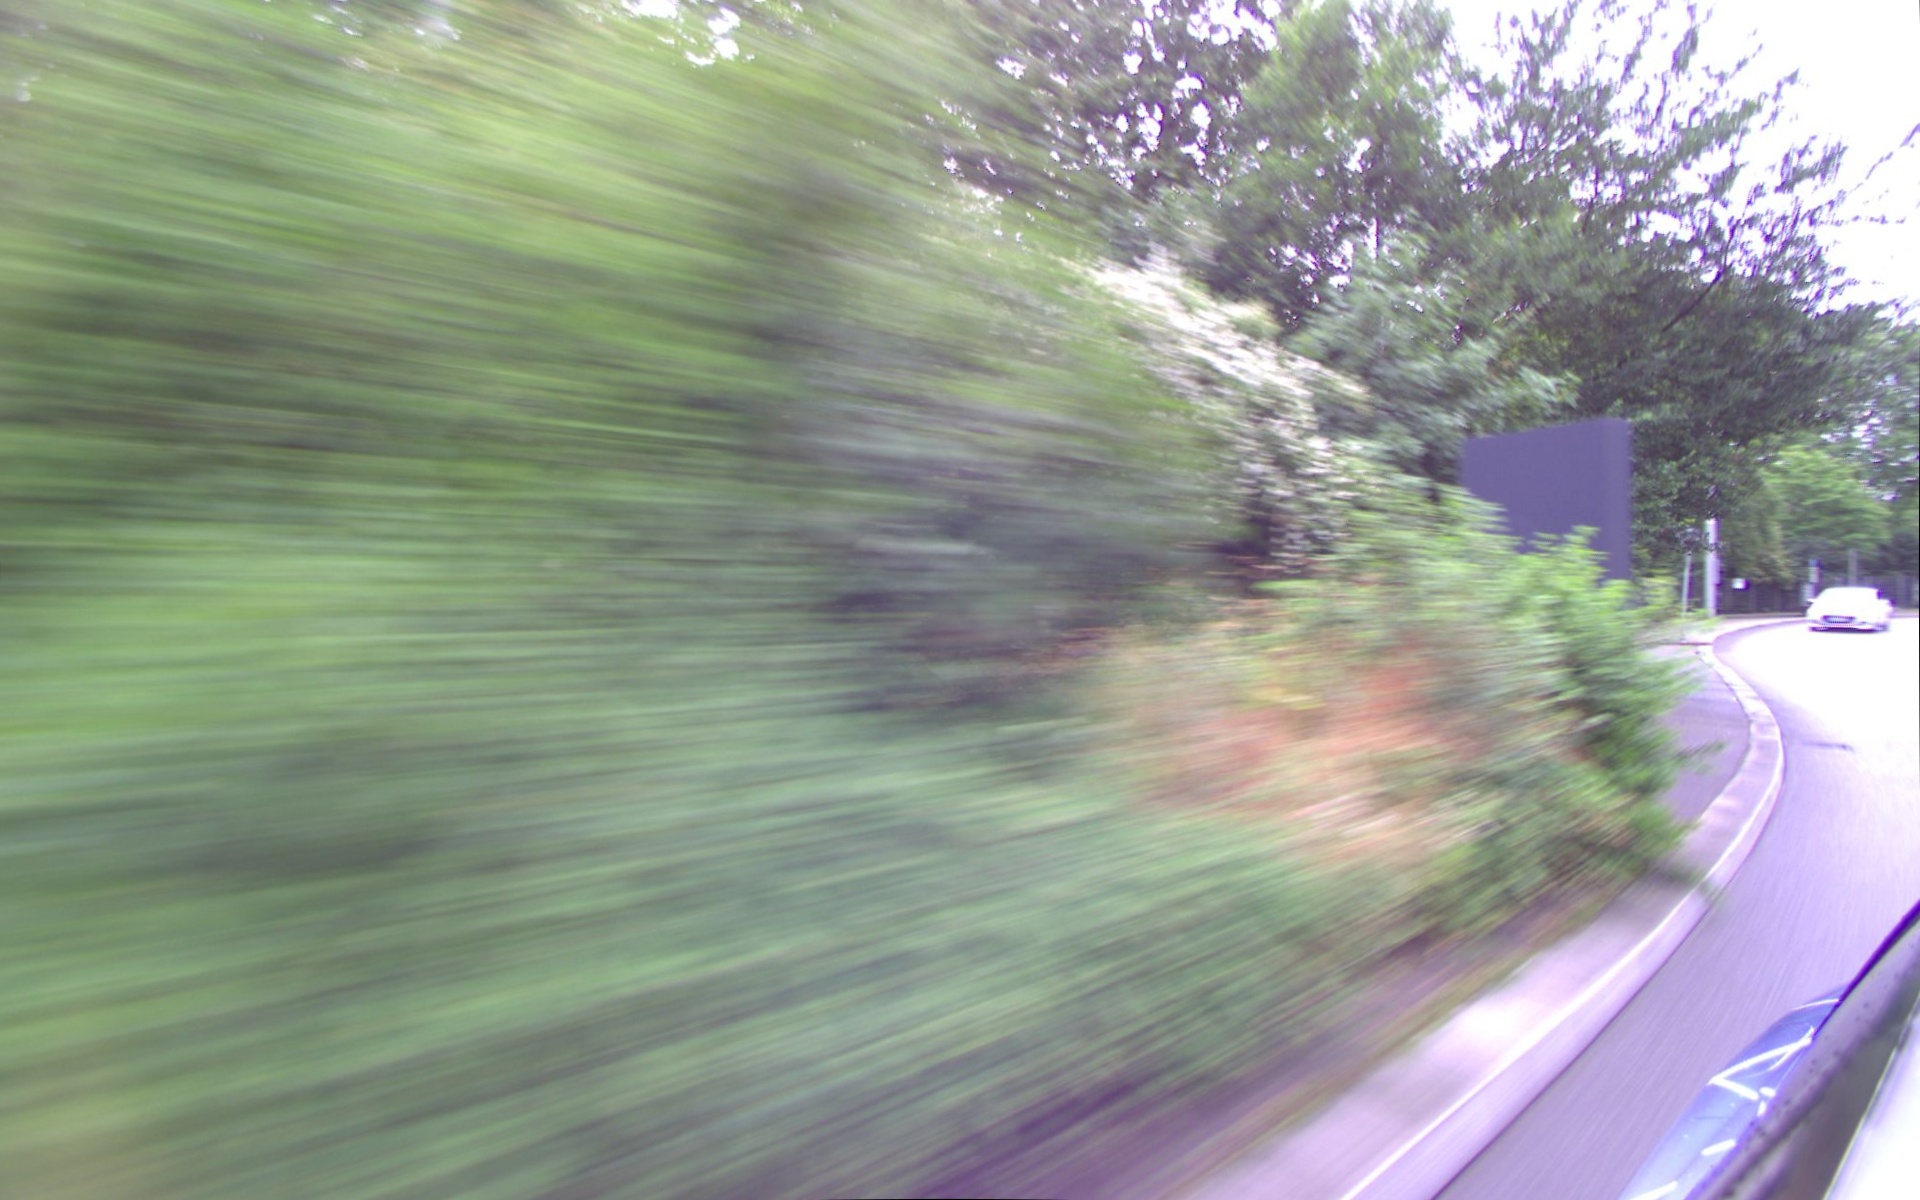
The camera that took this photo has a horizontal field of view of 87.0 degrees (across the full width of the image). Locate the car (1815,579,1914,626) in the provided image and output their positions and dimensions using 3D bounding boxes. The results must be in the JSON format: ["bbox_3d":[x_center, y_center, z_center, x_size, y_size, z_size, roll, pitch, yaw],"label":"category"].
[{"bbox_3d":[31.136,0.042,34.806,3.926,1.471,1.796,-2,2,-37],"label":"car"}]
